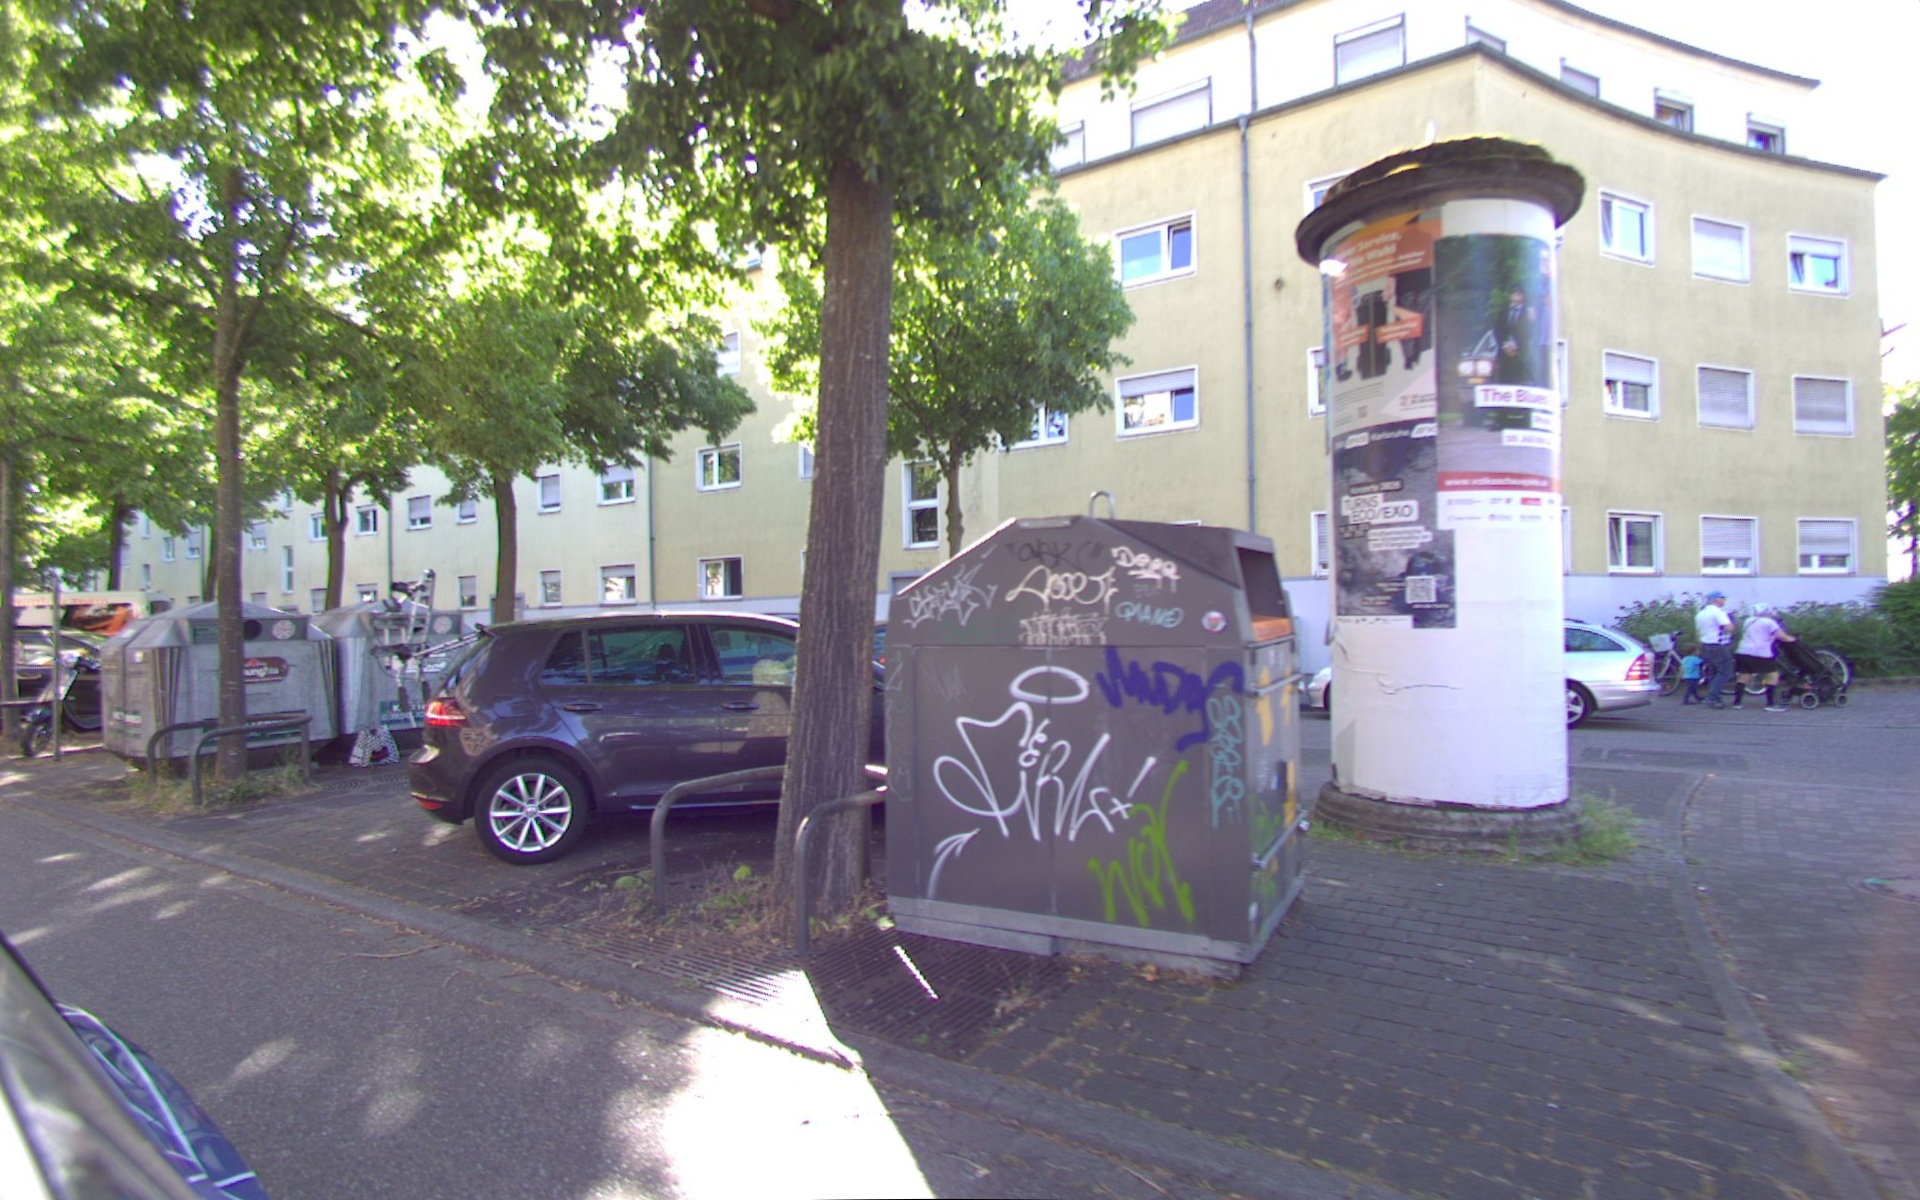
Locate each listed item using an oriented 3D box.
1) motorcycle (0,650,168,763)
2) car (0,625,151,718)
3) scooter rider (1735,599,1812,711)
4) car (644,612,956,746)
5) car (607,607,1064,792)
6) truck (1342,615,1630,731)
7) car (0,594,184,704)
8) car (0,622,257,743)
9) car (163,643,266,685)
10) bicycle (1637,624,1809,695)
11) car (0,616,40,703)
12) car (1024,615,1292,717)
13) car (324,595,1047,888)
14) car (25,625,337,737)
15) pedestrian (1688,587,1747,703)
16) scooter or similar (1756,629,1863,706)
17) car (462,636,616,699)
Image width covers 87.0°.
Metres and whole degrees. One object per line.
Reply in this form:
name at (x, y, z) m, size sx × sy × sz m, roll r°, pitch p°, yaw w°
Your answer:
motorcycle at (-10.392, 1.198, 11.701) m, size 0.515 × 1.180 × 1.929 m, roll -2°, pitch -2°, yaw 24°
car at (-17.533, 1.317, 18.747) m, size 3.673 × 1.594 × 1.642 m, roll -1°, pitch -1°, yaw -25°
scooter rider at (11.510, 0.768, 14.333) m, size 0.516 × 1.541 × 0.609 m, roll -1°, pitch -2°, yaw -18°
car at (-2.005, 0.930, 13.262) m, size 3.741 × 1.477 × 1.647 m, roll 0°, pitch -2°, yaw -42°
car at (-1.216, 0.821, 9.508) m, size 3.931 × 1.414 × 1.792 m, roll -1°, pitch -2°, yaw -18°
truck at (7.345, 0.982, 14.260) m, size 3.403 × 1.447 × 1.518 m, roll -2°, pitch -2°, yaw 33°
car at (-23.656, 1.277, 25.515) m, size 5.980 × 2.643 × 2.463 m, roll 0°, pitch -5°, yaw -20°
car at (-12.771, 1.144, 14.476) m, size 4.084 × 1.566 × 1.838 m, roll -1°, pitch -1°, yaw -14°
car at (-29.269, 2.493, 39.691) m, size 4.147 × 1.577 × 1.877 m, roll -2°, pitch -3°, yaw 32°
bicycle at (12.091, 0.947, 16.102) m, size 2.120 × 1.081 × 0.487 m, roll -2°, pitch -2°, yaw 14°
car at (-22.924, 1.365, 22.092) m, size 3.784 × 1.903 × 1.849 m, roll -1°, pitch -2°, yaw -20°
car at (3.273, 1.077, 17.091) m, size 4.154 × 1.538 × 1.517 m, roll -2°, pitch -2°, yaw 33°
car at (-1.658, 0.756, 6.798) m, size 4.072 × 1.493 × 1.781 m, roll -1°, pitch 0°, yaw -15°
car at (-13.181, 1.302, 17.439) m, size 4.034 × 1.477 × 1.871 m, roll -3°, pitch 0°, yaw -35°
pedestrian at (11.037, 0.651, 14.746) m, size 0.525 × 1.654 × 0.419 m, roll 0°, pitch -2°, yaw -24°
scooter or similar at (12.147, 0.955, 14.490) m, size 0.699 × 1.044 × 0.897 m, roll -1°, pitch -2°, yaw -19°
car at (-11.396, 1.784, 27.333) m, size 4.132 × 1.506 × 1.760 m, roll -2°, pitch -1°, yaw 32°
